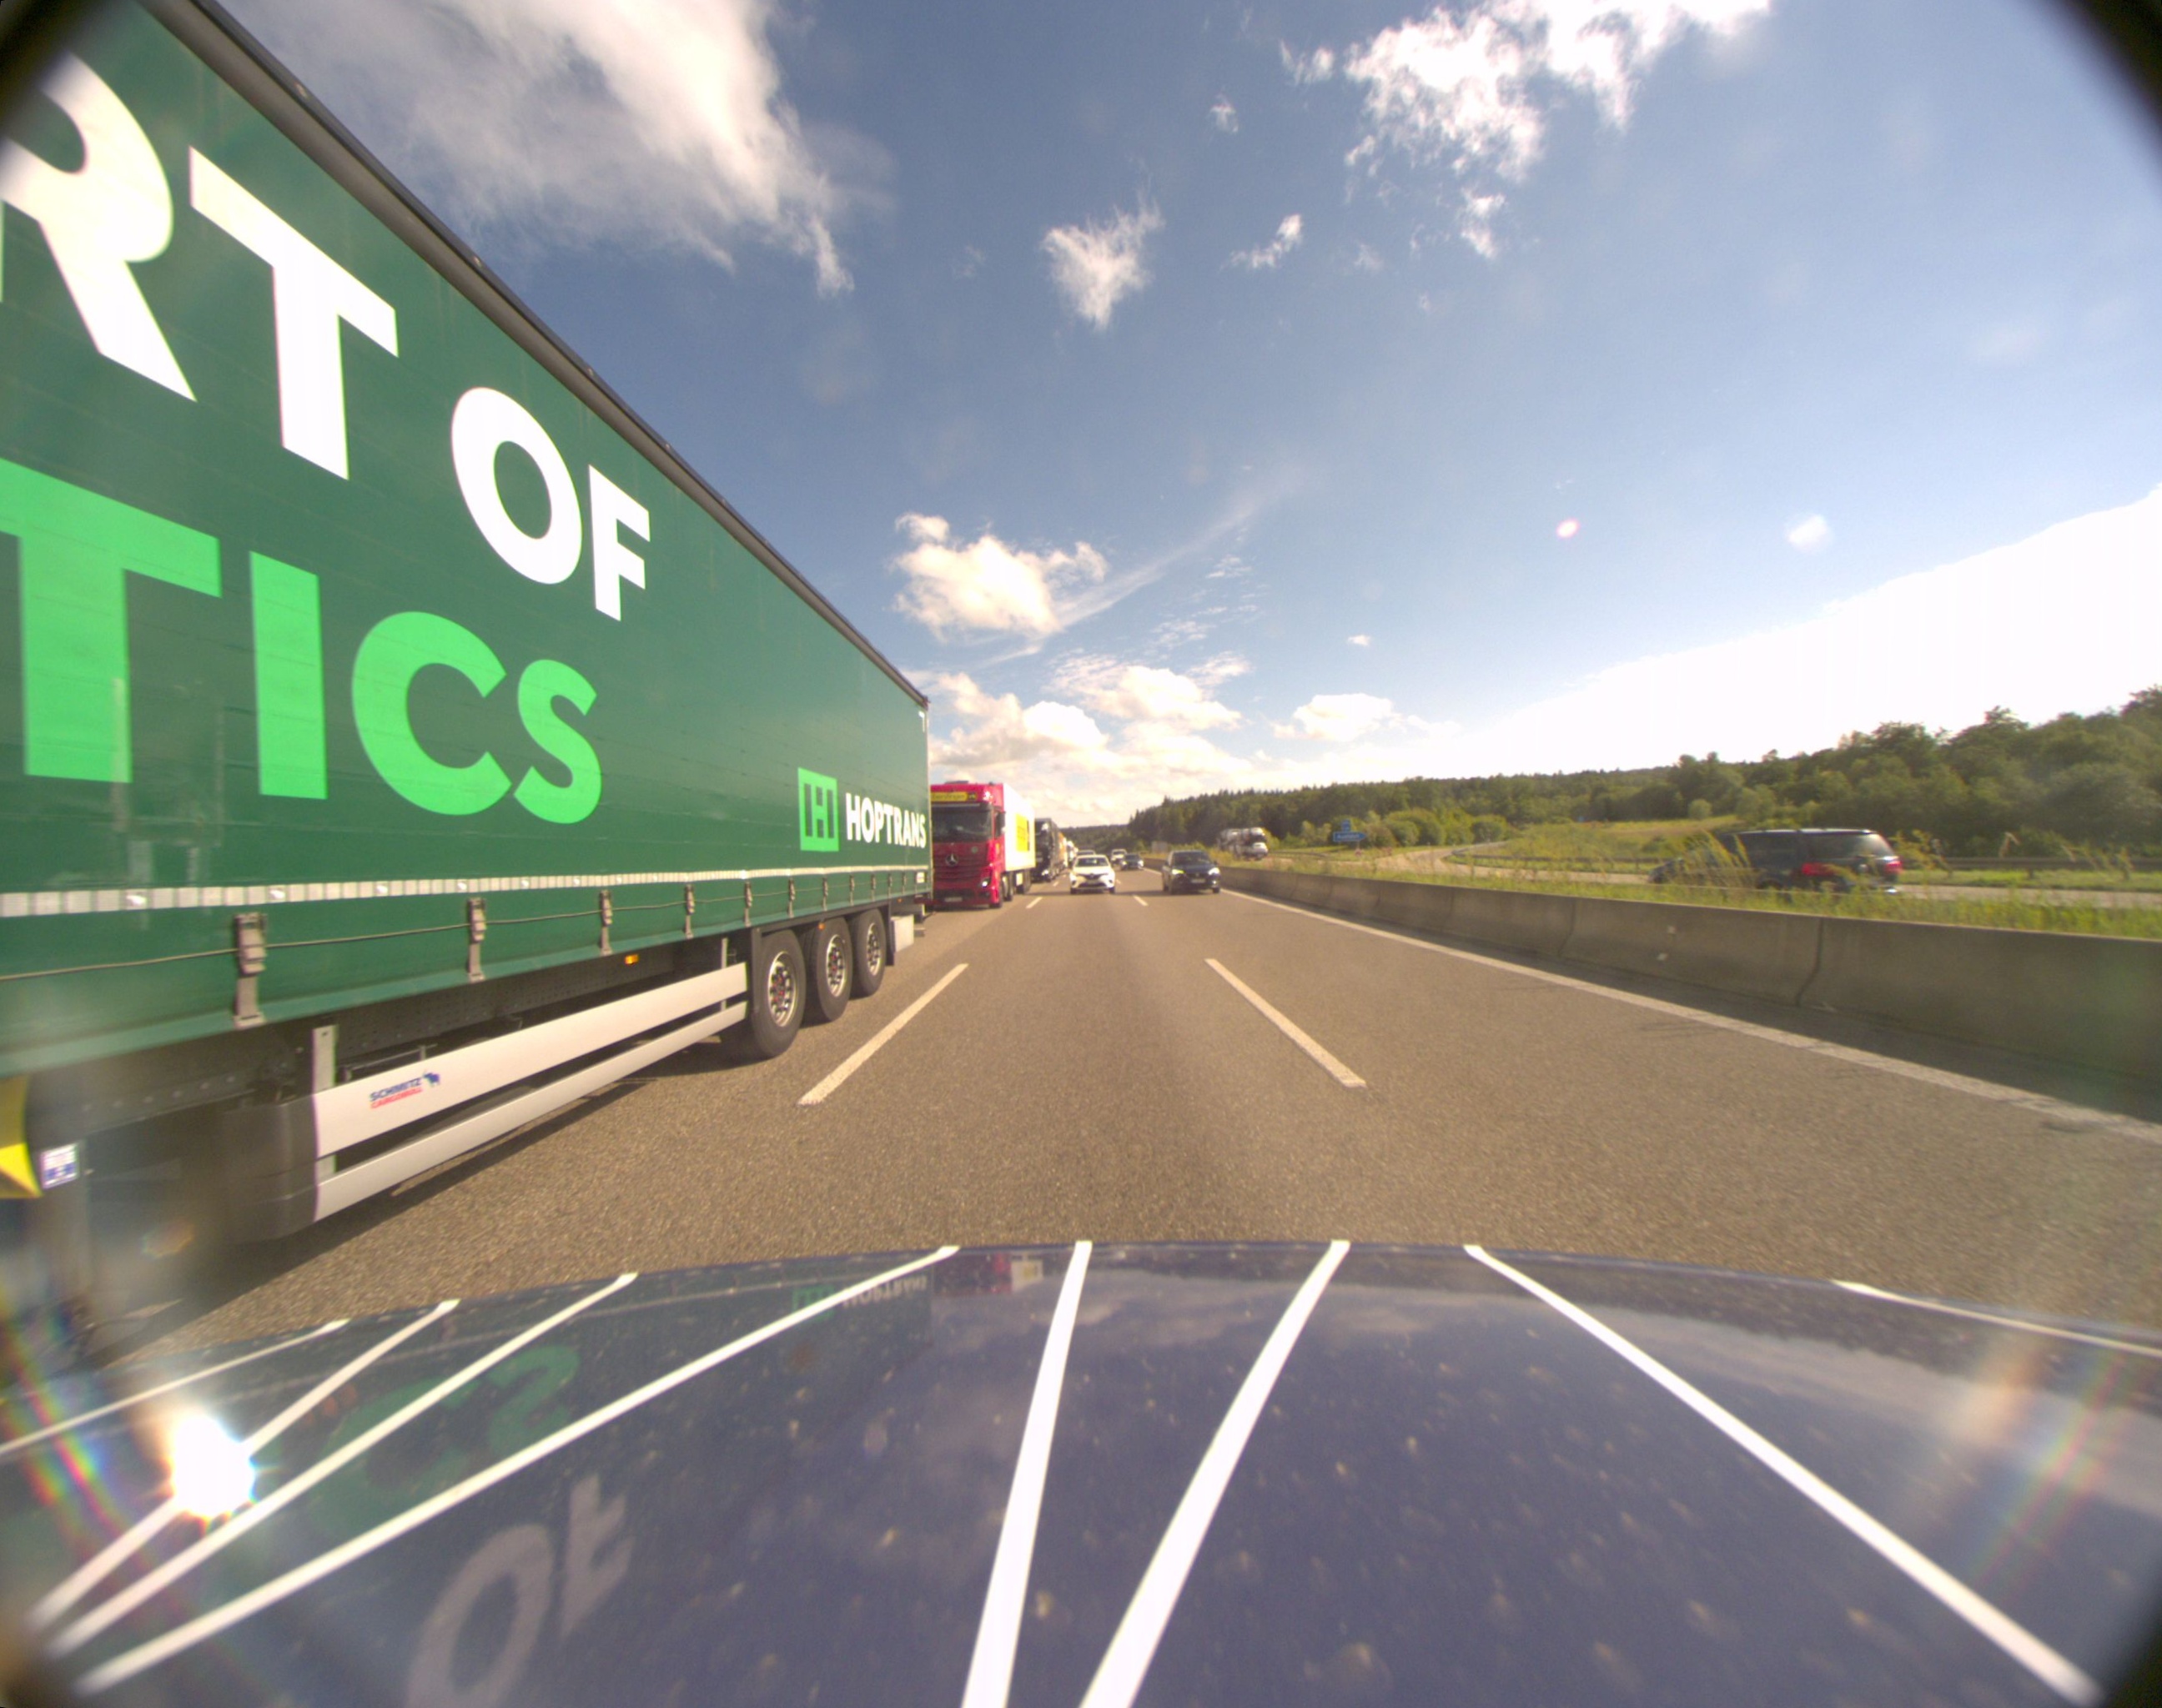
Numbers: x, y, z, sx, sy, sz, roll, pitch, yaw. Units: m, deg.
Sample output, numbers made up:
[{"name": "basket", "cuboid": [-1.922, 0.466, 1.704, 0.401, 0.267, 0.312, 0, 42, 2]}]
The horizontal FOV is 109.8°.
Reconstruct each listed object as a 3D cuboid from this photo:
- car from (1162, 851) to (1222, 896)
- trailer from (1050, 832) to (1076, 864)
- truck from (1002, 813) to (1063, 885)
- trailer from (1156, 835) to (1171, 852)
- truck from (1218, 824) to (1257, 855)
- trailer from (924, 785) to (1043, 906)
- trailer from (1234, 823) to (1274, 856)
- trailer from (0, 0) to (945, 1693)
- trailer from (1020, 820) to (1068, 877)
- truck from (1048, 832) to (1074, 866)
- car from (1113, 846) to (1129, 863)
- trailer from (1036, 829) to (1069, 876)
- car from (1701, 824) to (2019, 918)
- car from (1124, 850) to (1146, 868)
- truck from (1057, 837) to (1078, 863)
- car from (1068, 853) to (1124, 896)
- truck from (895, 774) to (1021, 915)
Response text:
[{"name": "car", "cuboid": [4.200, 0.679, 29.295, 1.779, 1.533, 4.158, -1, 1, 1]}, {"name": "trailer", "cuboid": [-2.373, -0.908, 107.399, 2.648, 4.074, 13.979, -5, 1, 2]}, {"name": "truck", "cuboid": [-2.953, -0.331, 49.497, 2.747, 4.015, 10.202, -5, 1, 1]}, {"name": "trailer", "cuboid": [21.265, -2.681, 197.406, 2.839, 3.969, 13.549, -2, 1, 2]}, {"name": "truck", "cuboid": [20.385, -1.842, 99.527, 2.838, 3.667, 11.131, -2, 1, 1]}, {"name": "trailer", "cuboid": [-3.549, -0.353, 31.781, 2.798, 3.916, 13.069, -3, 1, 1]}, {"name": "trailer", "cuboid": [20.262, -1.673, 89.479, 2.806, 3.508, 8.953, -2, 1, 1]}, {"name": "trailer", "cuboid": [-3.571, -0.190, 4.956, 2.668, 3.846, 13.393, -2, 1, 1]}, {"name": "trailer", "cuboid": [-2.726, -0.392, 58.939, 2.722, 3.937, 8.711, -5, 0, 2]}, {"name": "truck", "cuboid": [-2.588, -0.668, 99.402, 2.654, 4.066, 6.491, -5, 1, 2]}, {"name": "car", "cuboid": [4.799, 0.050, 92.001, 1.779, 1.924, 4.213, -1, 2, 1]}, {"name": "trailer", "cuboid": [-2.631, -0.146, 73.033, 2.418, 4.045, 8.926, -5, 0, 0]}, {"name": "car", "cuboid": [13.169, 0.234, 13.219, 1.694, 1.274, 3.708, -5, 1, 1]}, {"name": "car", "cuboid": [4.786, 0.416, 67.753, 1.779, 1.451, 4.158, -1, 1, 1]}, {"name": "truck", "cuboid": [-2.166, -0.627, 124.740, 2.655, 3.902, 6.943, -5, 0, 2]}, {"name": "car", "cuboid": [0.661, 0.781, 31.236, 2.026, 1.511, 5.299, -2, 0, 2]}, {"name": "truck", "cuboid": [-3.757, -0.310, 24.705, 2.809, 3.916, 5.825, -3, 1, 2]}]
